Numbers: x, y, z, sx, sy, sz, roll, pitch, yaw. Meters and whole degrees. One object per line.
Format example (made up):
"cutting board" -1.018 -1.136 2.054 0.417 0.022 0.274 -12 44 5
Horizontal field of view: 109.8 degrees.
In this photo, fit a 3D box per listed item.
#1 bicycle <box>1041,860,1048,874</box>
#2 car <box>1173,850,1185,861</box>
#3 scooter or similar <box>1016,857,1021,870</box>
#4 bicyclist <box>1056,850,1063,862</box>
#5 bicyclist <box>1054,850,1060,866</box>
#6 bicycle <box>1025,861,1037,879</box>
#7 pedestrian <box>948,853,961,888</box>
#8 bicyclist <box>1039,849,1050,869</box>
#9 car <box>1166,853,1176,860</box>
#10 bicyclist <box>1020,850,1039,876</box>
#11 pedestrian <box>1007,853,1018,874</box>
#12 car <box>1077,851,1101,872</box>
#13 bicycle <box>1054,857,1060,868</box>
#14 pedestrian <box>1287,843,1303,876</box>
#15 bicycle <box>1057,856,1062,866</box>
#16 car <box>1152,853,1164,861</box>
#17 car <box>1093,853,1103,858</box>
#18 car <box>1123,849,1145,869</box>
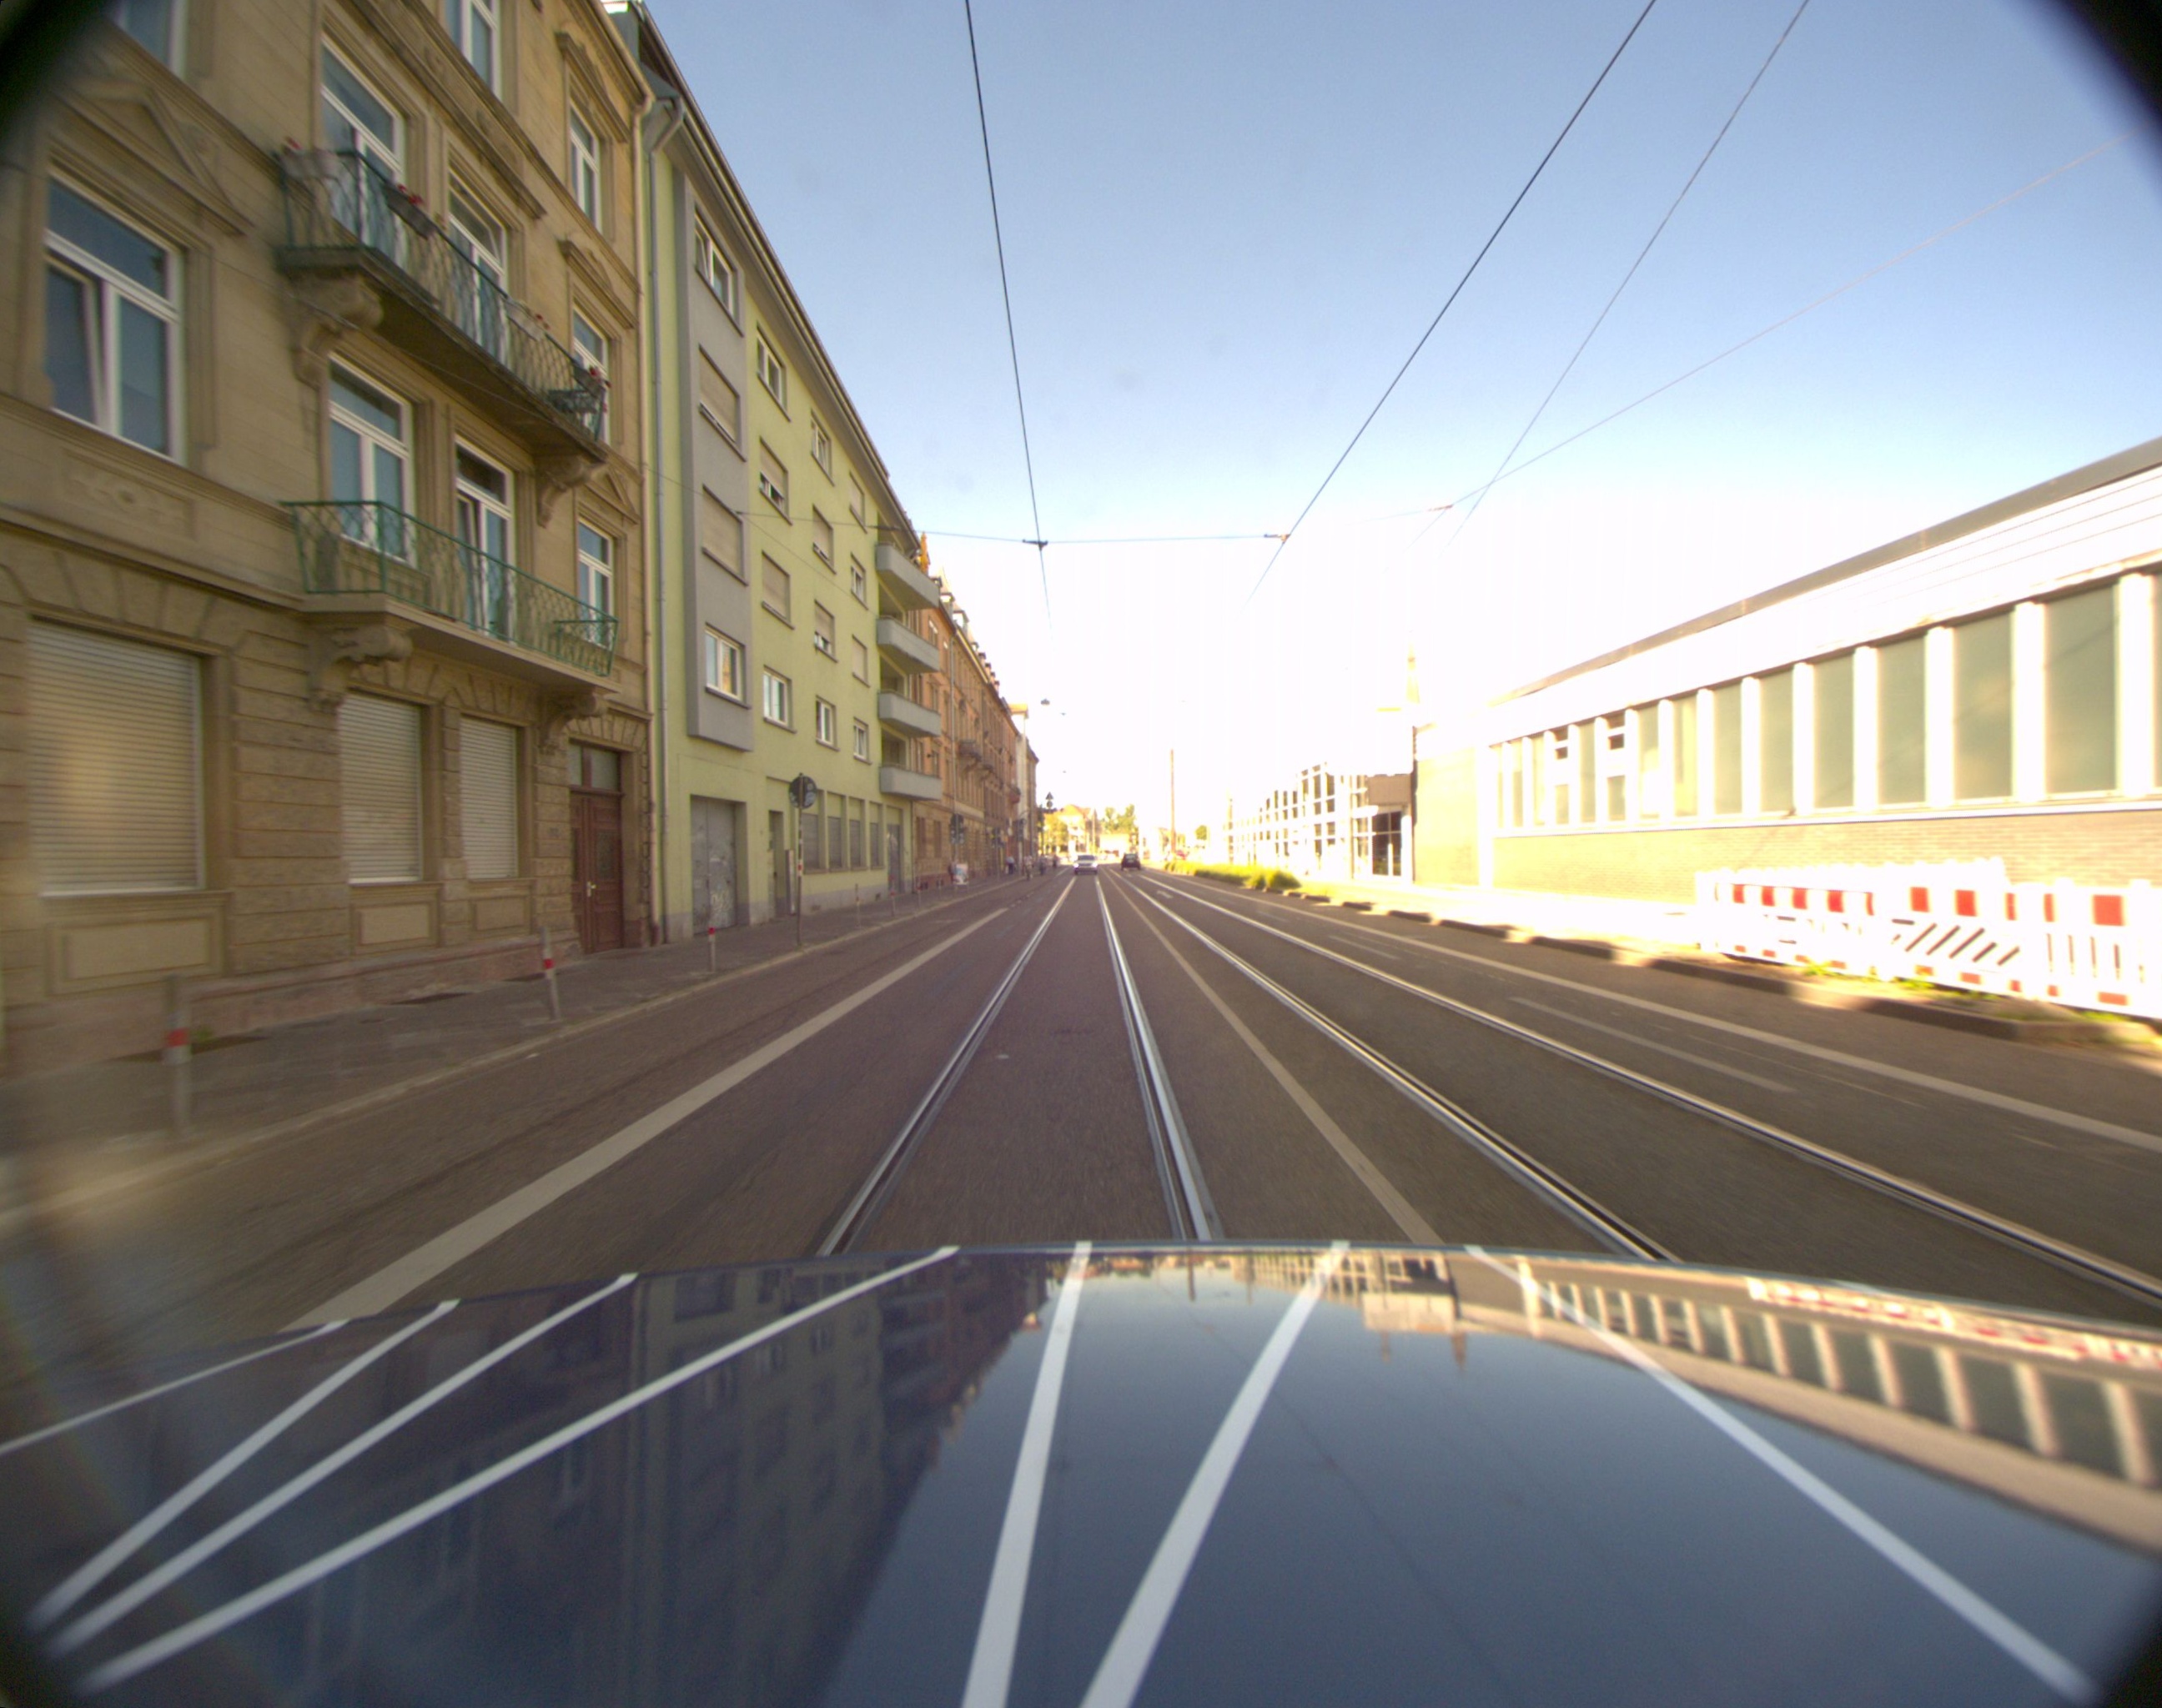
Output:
"bicycle" -2.994 1.058 62.560 0.387 1.062 1.934 -1 0 3
"car" 15.842 0.250 122.670 1.803 1.709 4.418 0 1 6
"scooter or similar" -6.222 0.922 75.770 0.407 1.204 1.480 0 1 1
"bicyclist" -2.542 0.245 88.966 0.675 1.413 1.036 -3 1 0
"bicyclist" -2.523 0.389 79.941 0.551 1.604 0.953 -3 1 0
"bicycle" -3.300 1.050 50.149 0.533 1.110 1.934 -3 -1 1
"pedestrian" -6.281 0.825 37.654 0.554 1.691 0.474 1 1 1
"bicyclist" -3.021 0.404 62.529 0.784 1.584 0.886 -1 0 3
"car" 17.561 0.476 148.756 1.653 1.470 3.971 0 0 2
"bicyclist" -3.394 0.596 50.099 0.681 1.674 1.122 -2 1 28
"pedestrian" -5.504 0.764 61.095 0.800 1.596 0.652 -1 1 3
"car" 0.680 0.649 62.964 1.869 1.635 4.397 -1 0 0
"bicycle" -2.499 0.850 79.877 0.533 1.111 1.933 -2 1 0
"pedestrian" 11.579 0.287 41.185 0.528 1.754 1.051 -3 1 1
"bicycle" -2.495 0.847 88.917 0.533 1.152 1.865 -2 1 0
"car" 14.639 0.531 144.289 1.807 1.424 4.540 -3 1 2
"car" 4.770 0.429 215.324 1.914 1.449 4.596 -2 1 -9
"car" 4.922 0.475 71.095 1.763 1.687 4.144 -3 1 2
